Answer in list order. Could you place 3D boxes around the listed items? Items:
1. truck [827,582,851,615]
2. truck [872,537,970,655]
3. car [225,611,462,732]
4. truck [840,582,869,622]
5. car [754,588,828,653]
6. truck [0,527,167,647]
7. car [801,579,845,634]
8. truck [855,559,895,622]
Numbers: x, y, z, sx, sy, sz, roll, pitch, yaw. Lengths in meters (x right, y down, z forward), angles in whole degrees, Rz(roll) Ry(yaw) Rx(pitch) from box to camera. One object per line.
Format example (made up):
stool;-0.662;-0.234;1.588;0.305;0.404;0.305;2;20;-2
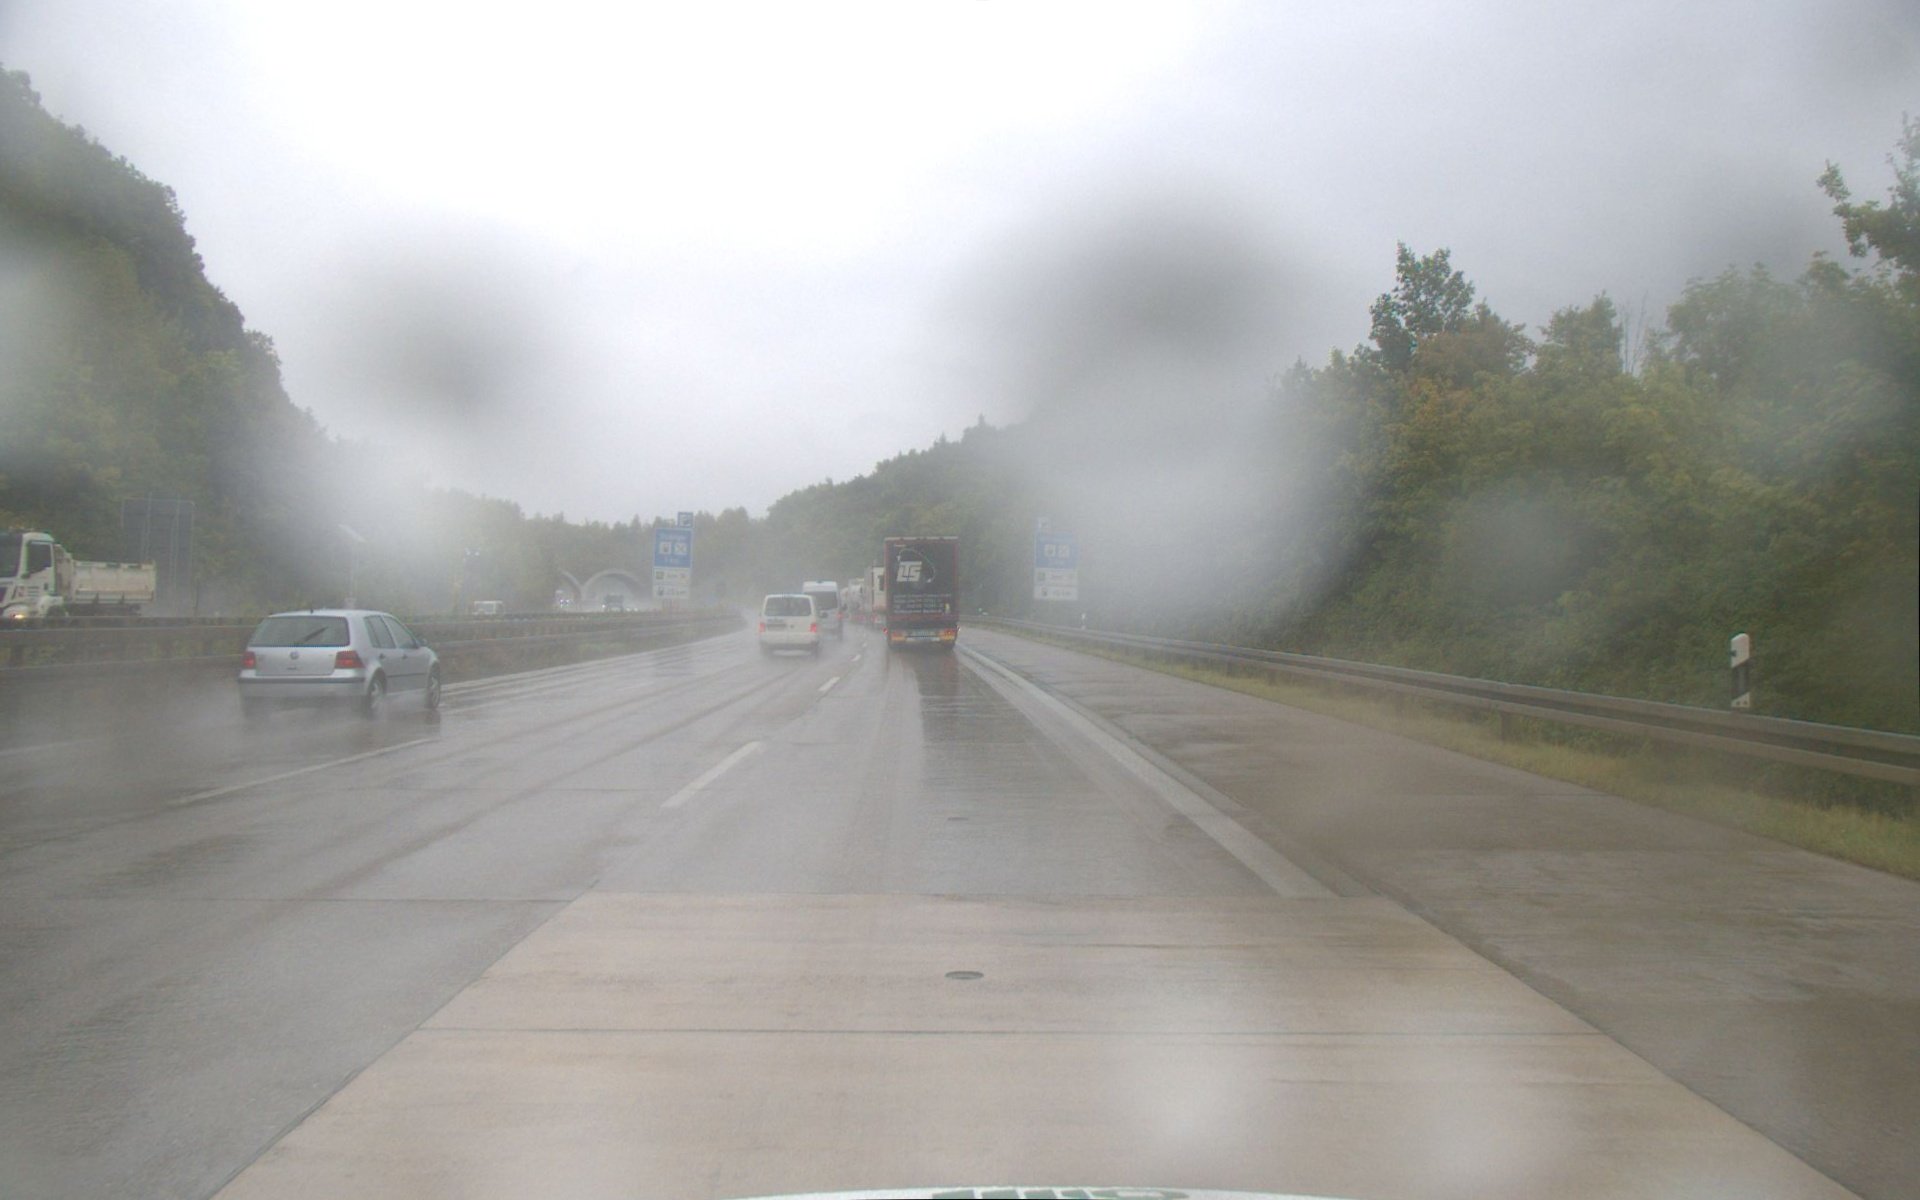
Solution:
truck;-12.314;-0.155;168.431;1.956;3.225;6.721;1;0;-8
truck;-1.441;-0.267;61.512;3.316;4.037;8.665;-1;2;-1
car;-8.295;0.896;22.668;1.633;1.459;4.349;1;0;-1
truck;-8.917;0.141;139.095;1.956;3.225;6.721;1;0;-8
car;-5.320;0.630;52.716;1.861;1.927;5.042;1;0;-1
truck;-25.315;-0.348;46.534;2.250;3.071;7.920;1;0;-1
car;-6.335;0.280;75.861;1.863;2.374;5.244;1;0;-6
truck;-5.508;-0.599;106.341;1.956;3.872;6.721;1;0;-8
